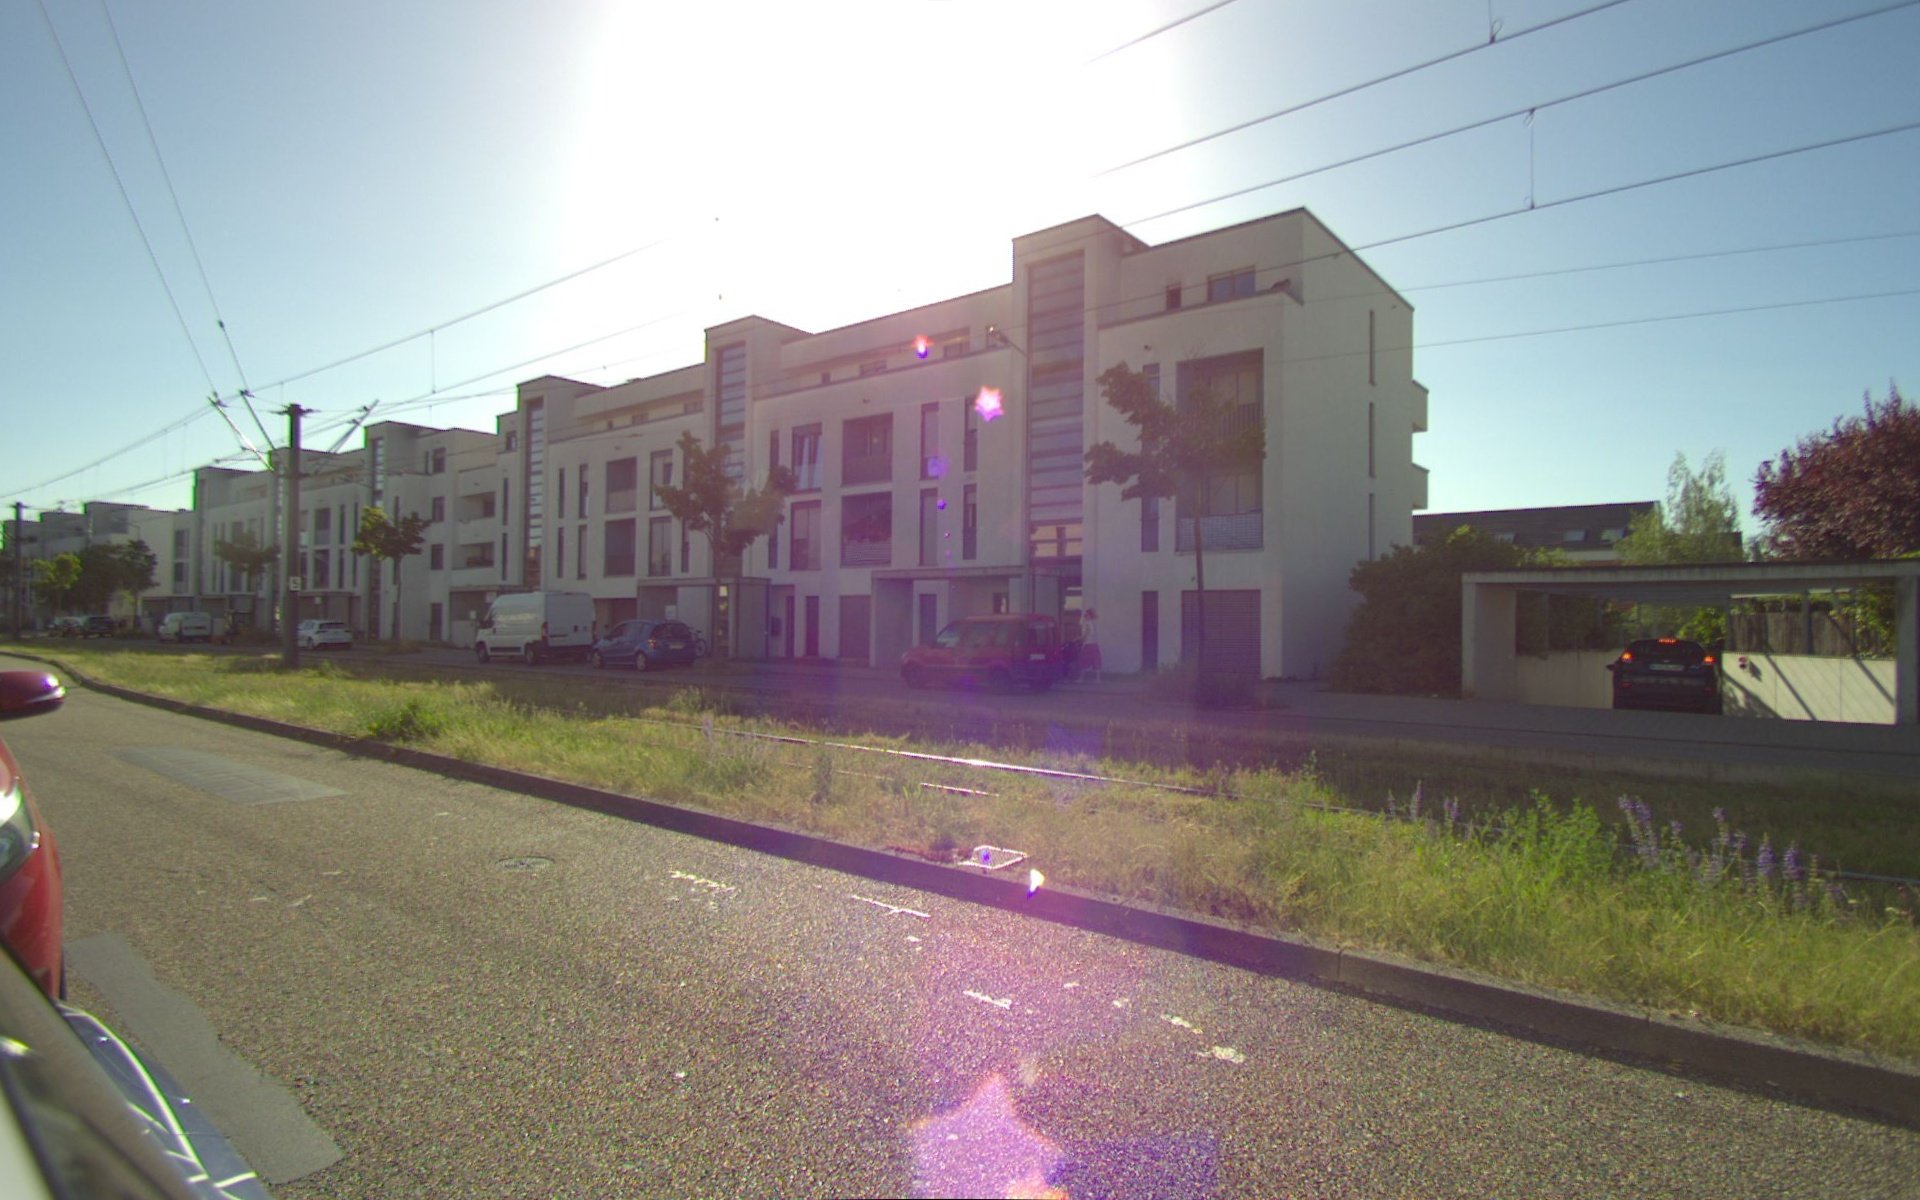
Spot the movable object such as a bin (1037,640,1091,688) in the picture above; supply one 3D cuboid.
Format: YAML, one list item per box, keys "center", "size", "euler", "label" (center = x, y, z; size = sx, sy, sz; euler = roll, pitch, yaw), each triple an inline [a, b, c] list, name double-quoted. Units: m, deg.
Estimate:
- center: [2.491, 1.517, 24.290]
  size: [1.083, 1.062, 0.719]
  euler: [-1, 0, 42]
  label: "movable object such as a bin"

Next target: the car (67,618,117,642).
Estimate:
- center: [-62.975, 2.161, 73.414]
  size: [4.277, 1.693, 1.900]
  euler: [-1, 0, 37]
  label: "car"

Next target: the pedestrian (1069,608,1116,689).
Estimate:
- center: [3.113, 1.124, 23.762]
  size: [0.785, 1.836, 0.766]
  euler: [-1, 0, 41]
  label: "pedestrian"

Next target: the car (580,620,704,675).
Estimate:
- center: [-9.999, 1.445, 31.747]
  size: [3.833, 1.556, 1.973]
  euler: [-1, 0, 40]
  label: "car"

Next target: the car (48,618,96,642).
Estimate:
- center: [-67.520, 2.252, 76.939]
  size: [4.277, 1.693, 1.900]
  euler: [-1, 0, 37]
  label: "car"

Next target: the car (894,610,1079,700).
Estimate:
- center: [0.539, 1.166, 23.026]
  size: [3.895, 1.842, 1.972]
  euler: [-1, 0, 43]
  label: "car"

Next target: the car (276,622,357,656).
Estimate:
- center: [-31.134, 1.835, 48.907]
  size: [4.277, 1.517, 1.900]
  euler: [-1, 0, 37]
  label: "car"

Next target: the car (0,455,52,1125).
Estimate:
- center: [-4.902, 0.556, 3.687]
  size: [4.505, 1.868, 1.850]
  euler: [-1, 0, 41]
  label: "car"

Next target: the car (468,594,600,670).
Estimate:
- center: [-15.194, 1.072, 35.952]
  size: [5.193, 2.491, 2.197]
  euler: [-1, 0, 40]
  label: "car"

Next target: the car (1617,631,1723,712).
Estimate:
- center: [14.027, 1.451, 19.939]
  size: [1.574, 1.337, 3.950]
  euler: [-1, -7, 37]
  label: "car"

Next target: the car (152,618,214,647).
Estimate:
- center: [-47.354, 1.958, 61.633]
  size: [4.277, 1.693, 1.900]
  euler: [-1, 0, 37]
  label: "car"
